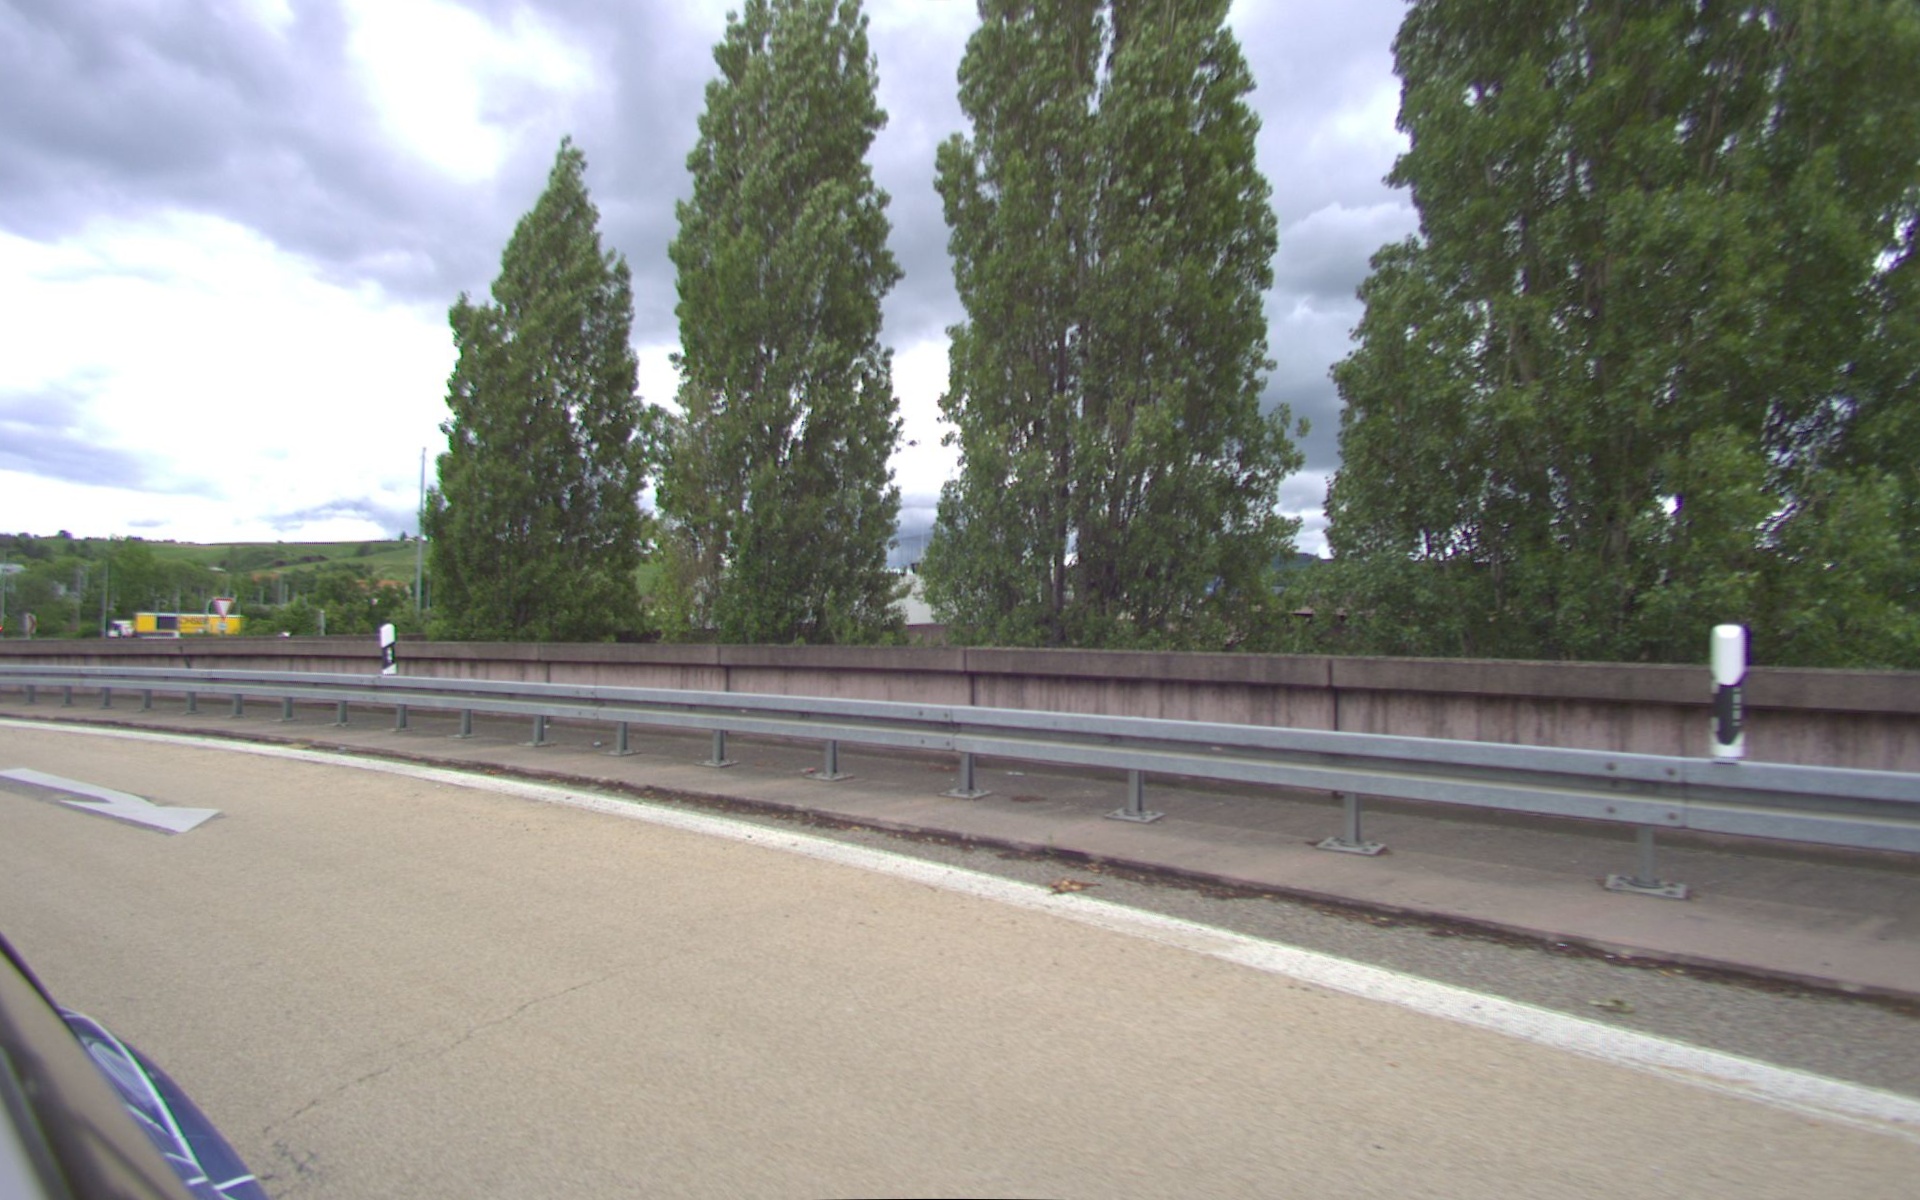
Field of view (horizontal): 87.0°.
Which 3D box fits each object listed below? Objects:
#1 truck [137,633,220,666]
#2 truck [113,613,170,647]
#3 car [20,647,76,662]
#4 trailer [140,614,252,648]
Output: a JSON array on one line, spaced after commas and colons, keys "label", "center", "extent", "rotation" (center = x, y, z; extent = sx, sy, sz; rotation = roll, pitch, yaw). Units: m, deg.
[{"label": "truck", "center": [-80.490, 5.025, 104.358], "extent": [2.328, 3.288, 6.969], "rotation": [-1, -2, 11]}, {"label": "truck", "center": [-105.854, 3.926, 130.877], "extent": [5.014, 4.236, 2.644], "rotation": [2, -1, -19]}, {"label": "car", "center": [-102.339, 6.088, 113.646], "extent": [4.220, 1.568, 1.954], "rotation": [1, 0, -21]}, {"label": "trailer", "center": [-100.152, 4.091, 132.908], "extent": [11.455, 4.236, 2.644], "rotation": [2, -1, -19]}]
